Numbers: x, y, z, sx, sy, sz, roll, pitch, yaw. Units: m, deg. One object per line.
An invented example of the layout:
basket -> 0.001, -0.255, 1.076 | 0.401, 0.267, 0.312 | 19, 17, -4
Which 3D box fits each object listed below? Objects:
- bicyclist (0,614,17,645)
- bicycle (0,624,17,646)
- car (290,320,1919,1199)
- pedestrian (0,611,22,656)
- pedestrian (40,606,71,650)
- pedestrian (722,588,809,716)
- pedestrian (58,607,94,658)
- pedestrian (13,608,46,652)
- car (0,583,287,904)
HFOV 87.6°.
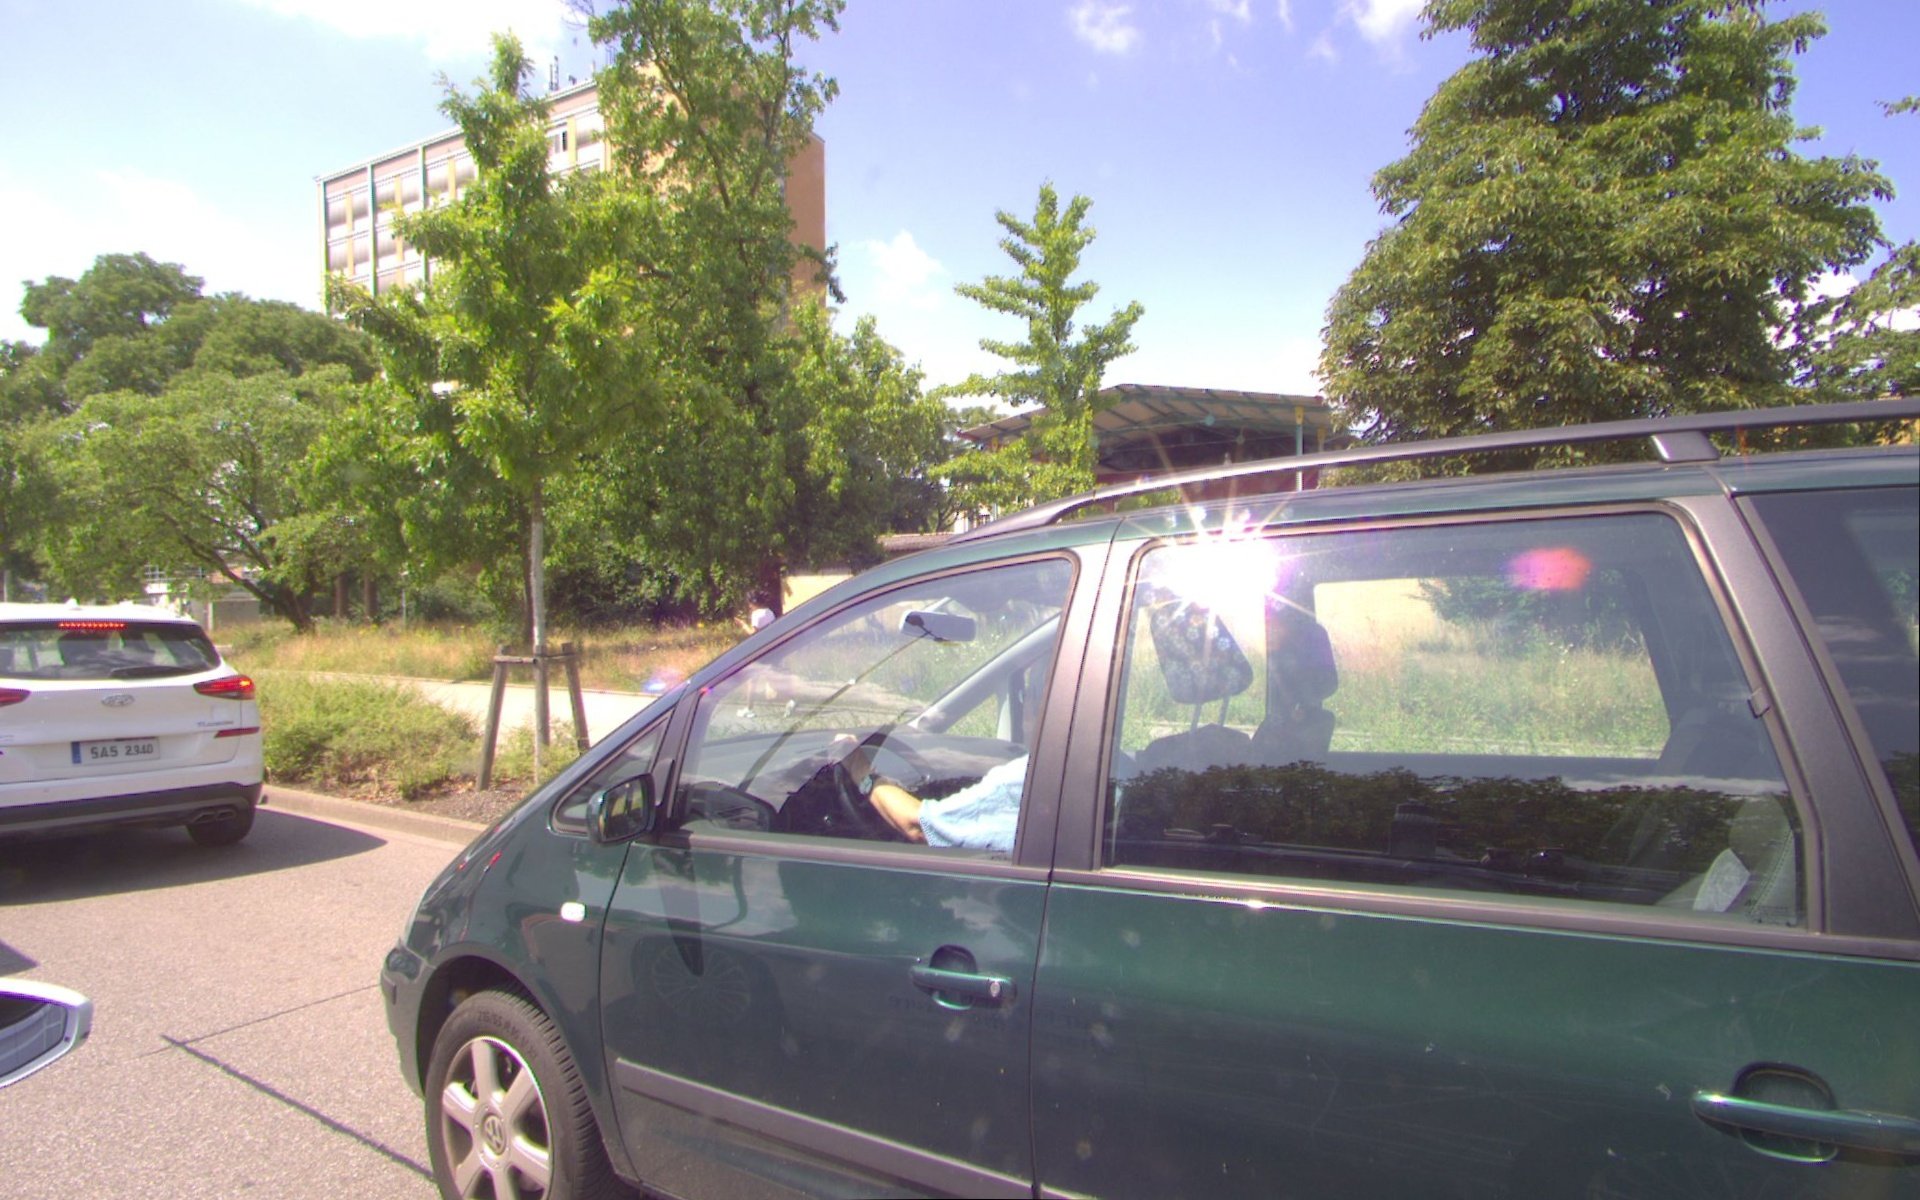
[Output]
bicyclist -> -69.265, 2.153, 72.463 | 1.422, 2.200, 1.326 | -1, 1, -43
bicycle -> -69.189, 2.525, 72.367 | 1.415, 1.483, 4.270 | 0, 0, -42
car -> 0.542, 0.633, 2.273 | 4.329, 1.737, 1.799 | 0, -2, 32
pedestrian -> -39.528, 1.378, 41.514 | 0.804, 1.874, 0.757 | 0, 1, 31
pedestrian -> -39.634, 1.214, 43.883 | 0.803, 1.874, 0.759 | 0, 1, 24
pedestrian -> -2.488, 0.644, 12.824 | 0.805, 1.578, 0.757 | 0, 1, 34
pedestrian -> -29.812, 1.073, 33.763 | 0.805, 1.677, 0.756 | 0, 1, 36
pedestrian -> -39.940, 1.274, 42.979 | 0.802, 1.874, 0.759 | 0, 1, 22
car -> -6.462, 0.776, 6.801 | 3.919, 1.700, 1.810 | 0, 0, 34
